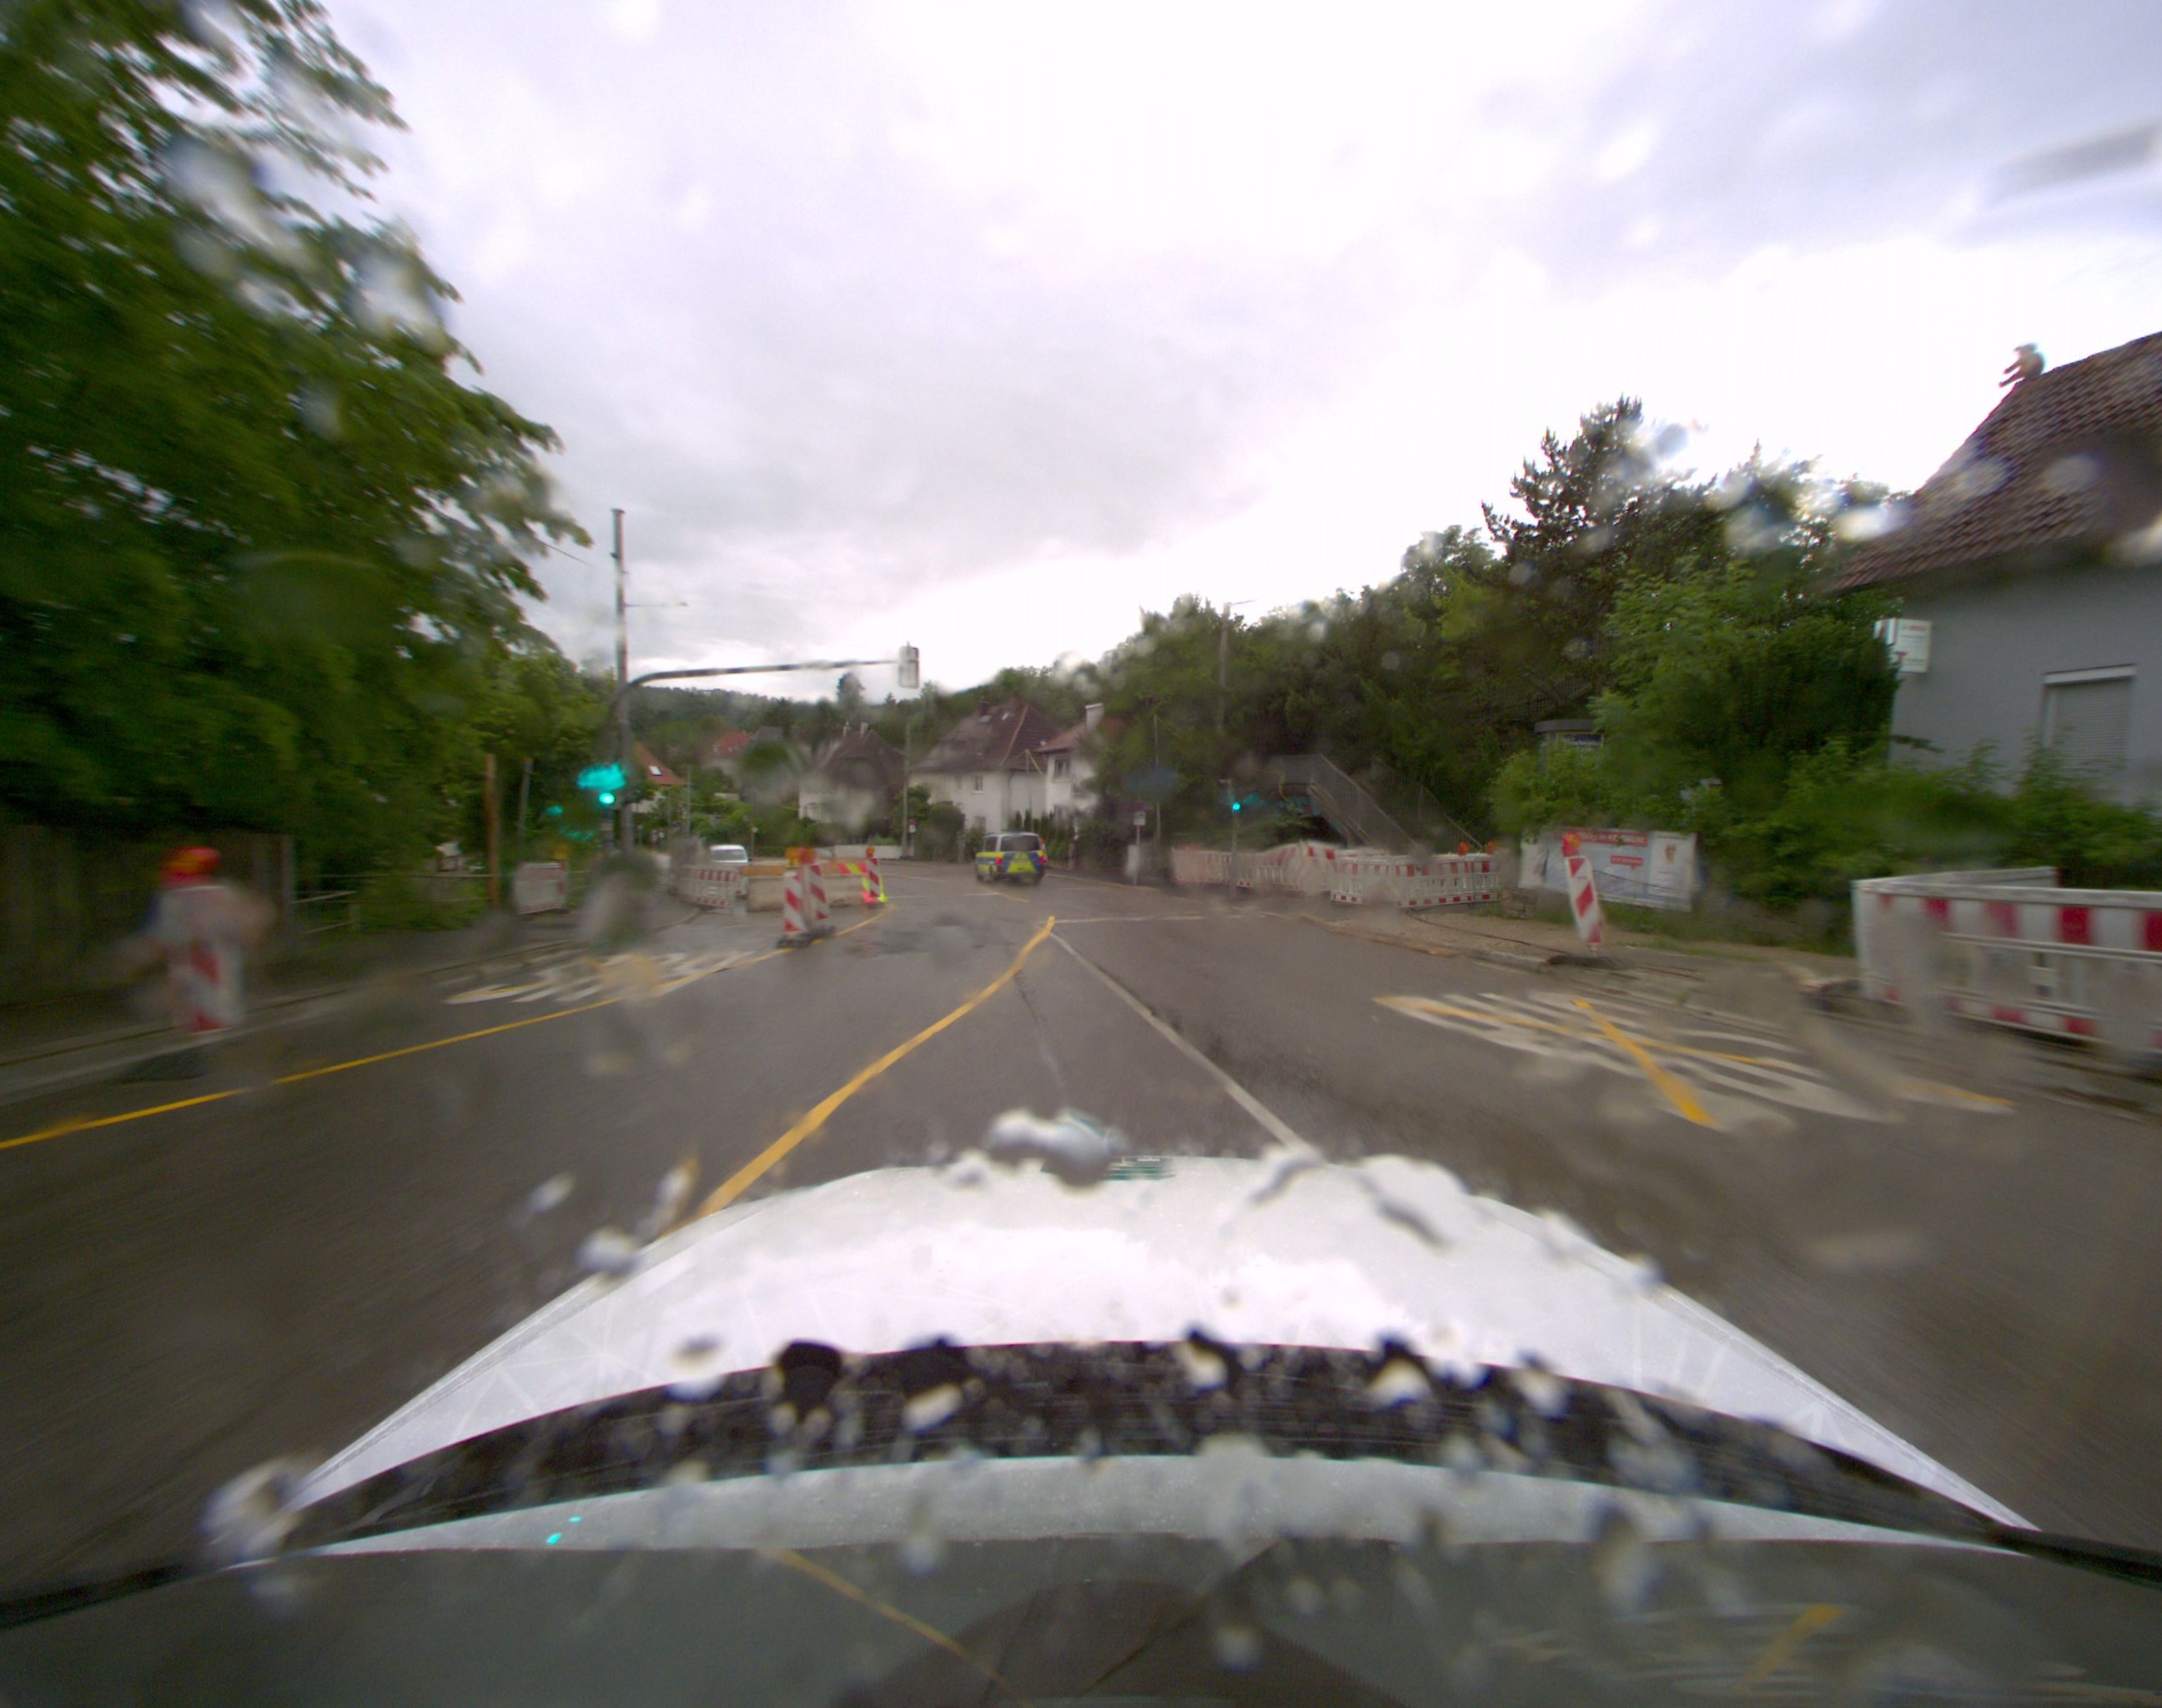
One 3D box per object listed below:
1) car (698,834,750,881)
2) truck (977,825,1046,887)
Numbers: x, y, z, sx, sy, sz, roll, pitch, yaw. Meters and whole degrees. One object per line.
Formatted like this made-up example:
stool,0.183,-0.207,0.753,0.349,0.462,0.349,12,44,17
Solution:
car,-17.040,0.201,38.754,2.004,2.013,4.765,-2,0,-26
truck,-2.809,-0.017,31.785,1.996,2.012,4.714,-1,4,-14
